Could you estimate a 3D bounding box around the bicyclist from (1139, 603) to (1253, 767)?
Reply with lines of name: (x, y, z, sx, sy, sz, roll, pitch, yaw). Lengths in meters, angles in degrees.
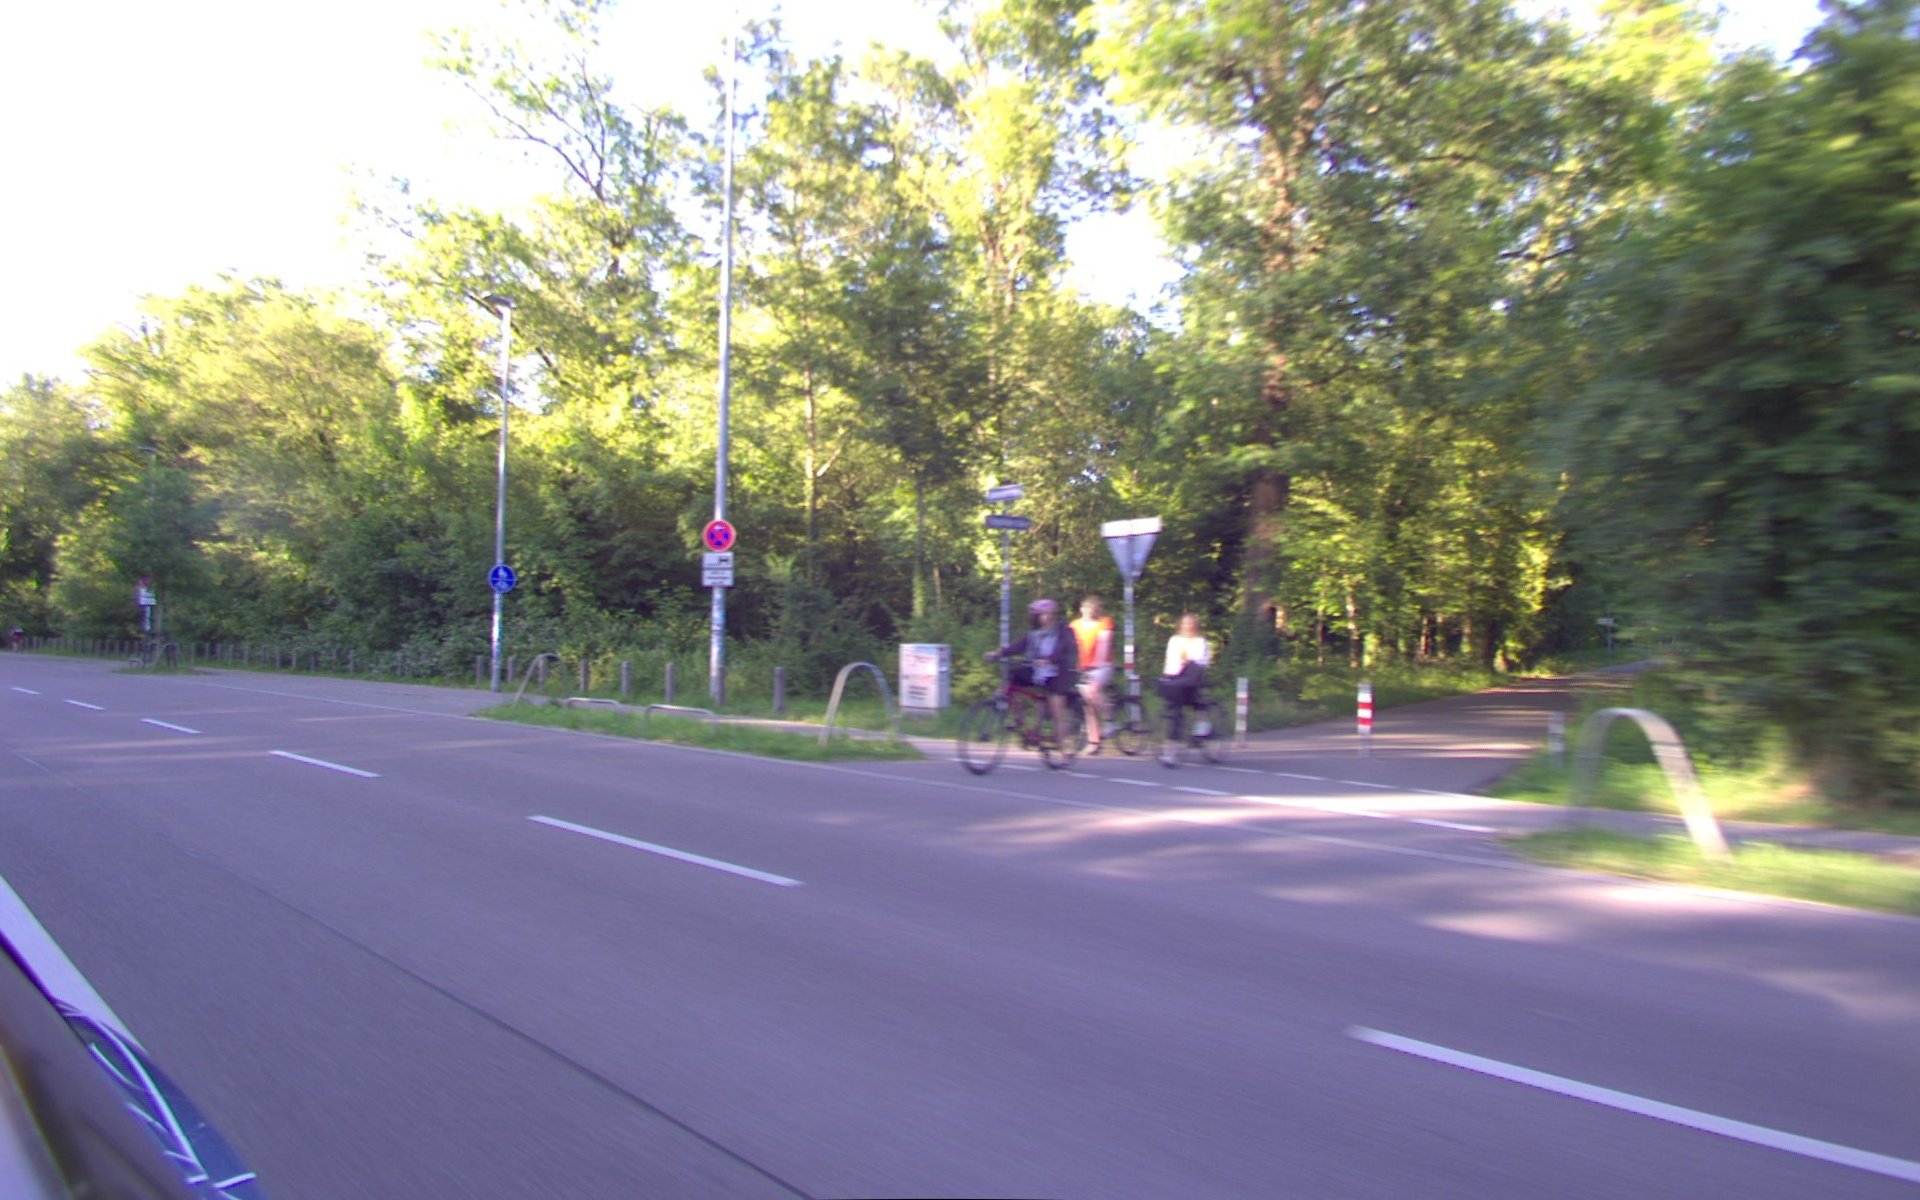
bicyclist: (2.606, 0.904, 11.209, 0.785, 1.710, 0.947, 2, -2, -41)

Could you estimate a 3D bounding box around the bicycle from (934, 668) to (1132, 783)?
bicycle: (0.739, 1.172, 9.873, 1.903, 0.941, 0.826, 2, -2, -41)

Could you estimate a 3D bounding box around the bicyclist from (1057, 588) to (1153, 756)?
bicyclist: (1.738, 0.836, 12.154, 0.785, 1.915, 0.818, 2, -3, -41)

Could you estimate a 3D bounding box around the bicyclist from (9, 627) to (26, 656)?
bicyclist: (-50.070, 2.199, 53.764, 0.760, 1.495, 0.494, -1, -4, 38)

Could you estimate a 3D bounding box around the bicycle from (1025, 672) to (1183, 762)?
bicycle: (1.758, 1.361, 12.167, 1.903, 0.941, 0.826, 3, -3, -41)

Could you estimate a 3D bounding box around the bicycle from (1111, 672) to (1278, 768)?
bicycle: (2.627, 1.310, 11.208, 1.903, 0.941, 0.826, 6, -5, -40)

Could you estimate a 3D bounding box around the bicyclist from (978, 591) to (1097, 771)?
bicyclist: (0.754, 0.755, 9.893, 0.785, 1.656, 0.842, 1, -2, -41)

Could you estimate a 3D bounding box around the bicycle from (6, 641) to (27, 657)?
bicycle: (-50.113, 2.622, 53.761, 1.805, 0.820, 0.490, -2, -5, 38)
